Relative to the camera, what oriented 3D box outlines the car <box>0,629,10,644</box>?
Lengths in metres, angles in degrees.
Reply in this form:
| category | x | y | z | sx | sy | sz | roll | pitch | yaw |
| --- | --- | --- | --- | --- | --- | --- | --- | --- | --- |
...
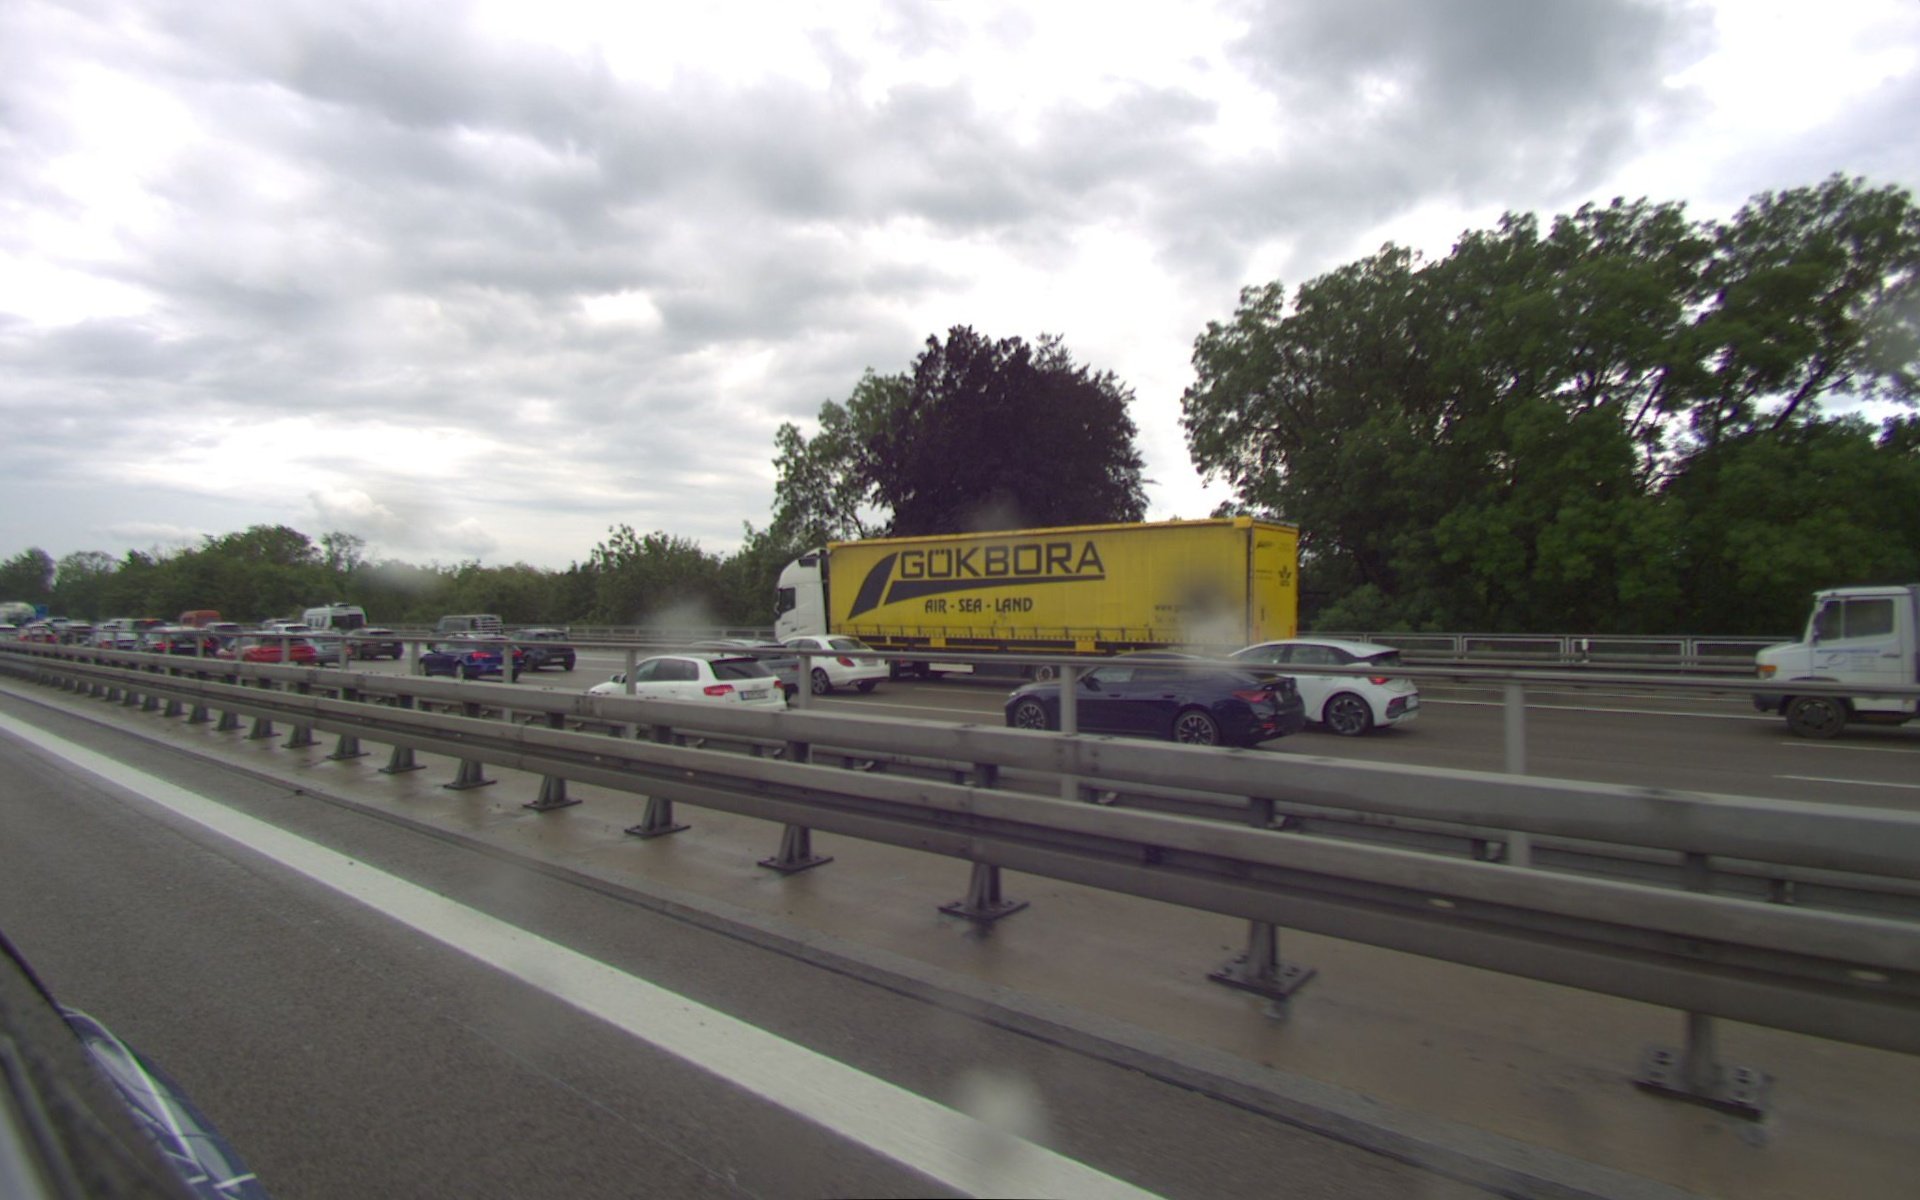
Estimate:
| category | x | y | z | sx | sy | sz | roll | pitch | yaw |
| --- | --- | --- | --- | --- | --- | --- | --- | --- | --- |
| car | -93.340 | 3.505 | 97.621 | 4.027 | 1.486 | 1.814 | -1 | -2 | 38 |

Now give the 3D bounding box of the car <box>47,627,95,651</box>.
| category | x | y | z | sx | sy | sz | roll | pitch | yaw |
| --- | --- | --- | --- | --- | --- | --- | --- | --- | --- |
| car | -63.679 | 2.774 | 72.427 | 5.010 | 1.419 | 1.661 | 2 | -1 | 38 |

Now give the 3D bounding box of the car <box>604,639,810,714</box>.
| category | x | y | z | sx | sy | sz | roll | pitch | yaw |
| --- | --- | --- | --- | --- | --- | --- | --- | --- | --- |
| car | -5.925 | 1.679 | 23.325 | 5.213 | 1.491 | 1.791 | -1 | -2 | 38 |

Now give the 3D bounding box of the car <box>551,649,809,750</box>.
| category | x | y | z | sx | sy | sz | roll | pitch | yaw |
| --- | --- | --- | --- | --- | --- | --- | --- | --- | --- |
| car | -4.851 | 1.573 | 17.149 | 4.815 | 1.393 | 1.745 | -1 | -2 | 39 |

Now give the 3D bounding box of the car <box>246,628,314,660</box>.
| category | x | y | z | sx | sy | sz | roll | pitch | yaw |
| --- | --- | --- | --- | --- | --- | --- | --- | --- | --- |
| car | -36.568 | 2.350 | 54.396 | 4.457 | 1.625 | 1.711 | -1 | -2 | 38 |

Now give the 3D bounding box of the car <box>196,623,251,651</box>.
| category | x | y | z | sx | sy | sz | roll | pitch | yaw |
| --- | --- | --- | --- | --- | --- | --- | --- | --- | --- |
| car | -45.058 | 2.228 | 61.914 | 3.998 | 1.657 | 1.889 | -1 | -2 | 41 |

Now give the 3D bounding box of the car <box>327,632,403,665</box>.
| category | x | y | z | sx | sy | sz | roll | pitch | yaw |
| --- | --- | --- | --- | --- | --- | --- | --- | --- | --- |
| car | -27.397 | 2.213 | 46.554 | 3.994 | 1.429 | 1.618 | -1 | -2 | 38 |

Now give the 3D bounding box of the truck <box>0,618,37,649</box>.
| category | x | y | z | sx | sy | sz | roll | pitch | yaw |
| --- | --- | --- | --- | --- | --- | --- | --- | --- | --- |
| truck | -83.645 | 2.912 | 89.046 | 8.744 | 2.622 | 2.125 | -1 | -2 | 38 |

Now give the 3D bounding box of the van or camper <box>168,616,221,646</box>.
| category | x | y | z | sx | sy | sz | roll | pitch | yaw |
| --- | --- | --- | --- | --- | --- | --- | --- | --- | --- |
| van or camper | -60.850 | 2.465 | 80.441 | 6.227 | 2.322 | 1.920 | -1 | -2 | 39 |

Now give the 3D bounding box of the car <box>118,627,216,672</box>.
| category | x | y | z | sx | sy | sz | roll | pitch | yaw |
| --- | --- | --- | --- | --- | --- | --- | --- | --- | --- |
| car | -31.101 | 1.900 | 39.633 | 5.167 | 1.682 | 1.849 | -1 | -2 | 38 |

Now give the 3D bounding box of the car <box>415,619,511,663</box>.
| category | x | y | z | sx | sy | sz | roll | pitch | yaw |
| --- | --- | --- | --- | --- | --- | --- | --- | --- | --- |
| car | -23.881 | 1.922 | 48.539 | 5.405 | 2.029 | 1.974 | -1 | -2 | 38 |

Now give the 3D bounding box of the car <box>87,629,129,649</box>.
| category | x | y | z | sx | sy | sz | roll | pitch | yaw |
| --- | --- | --- | --- | --- | --- | --- | --- | --- | --- |
| car | -68.909 | 3.123 | 81.839 | 3.994 | 1.512 | 1.773 | -1 | -2 | 38 |

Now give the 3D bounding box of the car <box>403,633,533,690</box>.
| category | x | y | z | sx | sy | sz | roll | pitch | yaw |
| --- | --- | --- | --- | --- | --- | --- | --- | --- | --- |
| car | -15.205 | 1.836 | 31.162 | 4.571 | 1.624 | 1.762 | -1 | -2 | 38 |

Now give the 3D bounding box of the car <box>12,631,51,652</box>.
| category | x | y | z | sx | sy | sz | roll | pitch | yaw |
| --- | --- | --- | --- | --- | --- | --- | --- | --- | --- |
| car | -74.970 | 3.360 | 81.714 | 3.994 | 1.648 | 1.661 | -1 | -2 | 38 |

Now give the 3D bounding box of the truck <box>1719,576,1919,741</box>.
| category | x | y | z | sx | sy | sz | roll | pitch | yaw |
| --- | --- | --- | --- | --- | --- | --- | --- | --- | --- |
| truck | 16.464 | 0.833 | 14.113 | 9.268 | 2.389 | 2.653 | -1 | -2 | 41 |

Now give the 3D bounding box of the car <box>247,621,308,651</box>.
| category | x | y | z | sx | sy | sz | roll | pitch | yaw |
| --- | --- | --- | --- | --- | --- | --- | --- | --- | --- |
| car | -45.978 | 2.403 | 68.160 | 4.753 | 1.960 | 2.056 | -1 | -2 | 38 |

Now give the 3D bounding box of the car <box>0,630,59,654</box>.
| category | x | y | z | sx | sy | sz | roll | pitch | yaw |
| --- | --- | --- | --- | --- | --- | --- | --- | --- | --- |
| car | -56.431 | 2.520 | 61.304 | 5.357 | 1.403 | 1.856 | -1 | -2 | 38 |

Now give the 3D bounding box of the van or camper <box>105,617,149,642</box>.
| category | x | y | z | sx | sy | sz | roll | pitch | yaw |
| --- | --- | --- | --- | --- | --- | --- | --- | --- | --- |
| van or camper | -79.534 | 2.821 | 96.612 | 5.928 | 2.347 | 2.026 | -1 | -2 | 39 |

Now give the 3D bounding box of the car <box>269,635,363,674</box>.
| category | x | y | z | sx | sy | sz | roll | pitch | yaw |
| --- | --- | --- | --- | --- | --- | --- | --- | --- | --- |
| car | -25.939 | 2.154 | 40.718 | 4.470 | 1.436 | 1.799 | -1 | -2 | 38 |

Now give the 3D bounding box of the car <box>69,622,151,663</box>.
| category | x | y | z | sx | sy | sz | roll | pitch | yaw |
| --- | --- | --- | --- | --- | --- | --- | --- | --- | --- |
| car | -40.195 | 1.964 | 47.816 | 5.701 | 1.840 | 1.848 | -1 | -2 | 38 |

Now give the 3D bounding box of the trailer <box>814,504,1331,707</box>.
| category | x | y | z | sx | sy | sz | roll | pitch | yaw |
| --- | --- | --- | --- | --- | --- | --- | --- | --- | --- |
| trailer | 2.118 | 0.257 | 27.118 | 14.499 | 4.260 | 3.214 | -1 | -2 | 41 |

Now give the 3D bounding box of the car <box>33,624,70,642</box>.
| category | x | y | z | sx | sy | sz | roll | pitch | yaw |
| --- | --- | --- | --- | --- | --- | --- | --- | --- | --- |
| car | -86.558 | 3.125 | 96.369 | 3.995 | 1.721 | 1.974 | -1 | -2 | 38 |

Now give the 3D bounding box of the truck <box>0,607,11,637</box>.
| category | x | y | z | sx | sy | sz | roll | pitch | yaw |
| --- | --- | --- | --- | --- | --- | --- | --- | --- | --- |
| truck | -130.115 | 3.018 | 136.250 | 6.975 | 3.995 | 2.437 | -2 | -2 | 39 |

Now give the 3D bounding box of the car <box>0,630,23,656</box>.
| category | x | y | z | sx | sy | sz | roll | pitch | yaw |
| --- | --- | --- | --- | --- | --- | --- | --- | --- | --- |
| car | -65.454 | 2.925 | 68.840 | 5.352 | 1.688 | 1.807 | -2 | -2 | 39 |

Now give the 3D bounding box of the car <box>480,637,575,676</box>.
| category | x | y | z | sx | sy | sz | roll | pitch | yaw |
| --- | --- | --- | --- | --- | --- | --- | --- | --- | --- |
| car | -15.811 | 2.040 | 36.899 | 3.994 | 1.310 | 1.433 | -1 | -2 | 38 |

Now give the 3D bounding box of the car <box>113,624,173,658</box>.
| category | x | y | z | sx | sy | sz | roll | pitch | yaw |
| --- | --- | --- | --- | --- | --- | --- | --- | --- | --- |
| car | -47.933 | 2.394 | 59.360 | 4.999 | 1.916 | 1.873 | -1 | -2 | 41 |

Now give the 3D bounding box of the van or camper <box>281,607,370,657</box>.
| category | x | y | z | sx | sy | sz | roll | pitch | yaw |
| --- | --- | --- | --- | --- | --- | --- | --- | --- | --- |
| van or camper | -37.813 | 1.904 | 60.236 | 7.221 | 2.786 | 2.180 | -1 | -2 | 38 |

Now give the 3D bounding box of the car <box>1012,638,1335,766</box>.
| category | x | y | z | sx | sy | sz | roll | pitch | yaw |
| --- | --- | --- | --- | --- | --- | --- | --- | --- | --- |
| car | 3.055 | 1.379 | 15.036 | 4.413 | 1.589 | 1.730 | -1 | -2 | 39 |

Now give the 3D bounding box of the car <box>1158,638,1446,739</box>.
| category | x | y | z | sx | sy | sz | roll | pitch | yaw |
| --- | --- | --- | --- | --- | --- | --- | --- | --- | --- |
| car | 5.805 | 1.426 | 17.502 | 4.413 | 1.490 | 1.730 | -1 | -2 | 39 |

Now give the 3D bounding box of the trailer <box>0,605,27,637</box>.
| category | x | y | z | sx | sy | sz | roll | pitch | yaw |
| --- | --- | --- | --- | --- | --- | --- | --- | --- | --- |
| trailer | -123.717 | 2.817 | 131.033 | 13.204 | 3.988 | 2.437 | -2 | -2 | 39 |

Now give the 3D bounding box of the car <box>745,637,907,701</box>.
| category | x | y | z | sx | sy | sz | roll | pitch | yaw |
| --- | --- | --- | --- | --- | --- | --- | --- | --- | --- |
| car | -3.453 | 1.702 | 25.811 | 4.047 | 1.449 | 1.805 | -1 | -2 | 38 |

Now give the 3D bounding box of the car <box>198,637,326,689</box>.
| category | x | y | z | sx | sy | sz | roll | pitch | yaw |
| --- | --- | --- | --- | --- | --- | --- | --- | --- | --- |
| car | -22.135 | 1.938 | 32.035 | 4.835 | 1.474 | 1.975 | -1 | -2 | 38 |

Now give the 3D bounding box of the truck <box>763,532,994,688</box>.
| category | x | y | z | sx | sy | sz | roll | pitch | yaw |
| --- | --- | --- | --- | --- | --- | --- | --- | --- | --- |
| truck | -2.609 | 0.351 | 31.187 | 6.877 | 4.282 | 3.214 | -1 | -2 | 40 |
